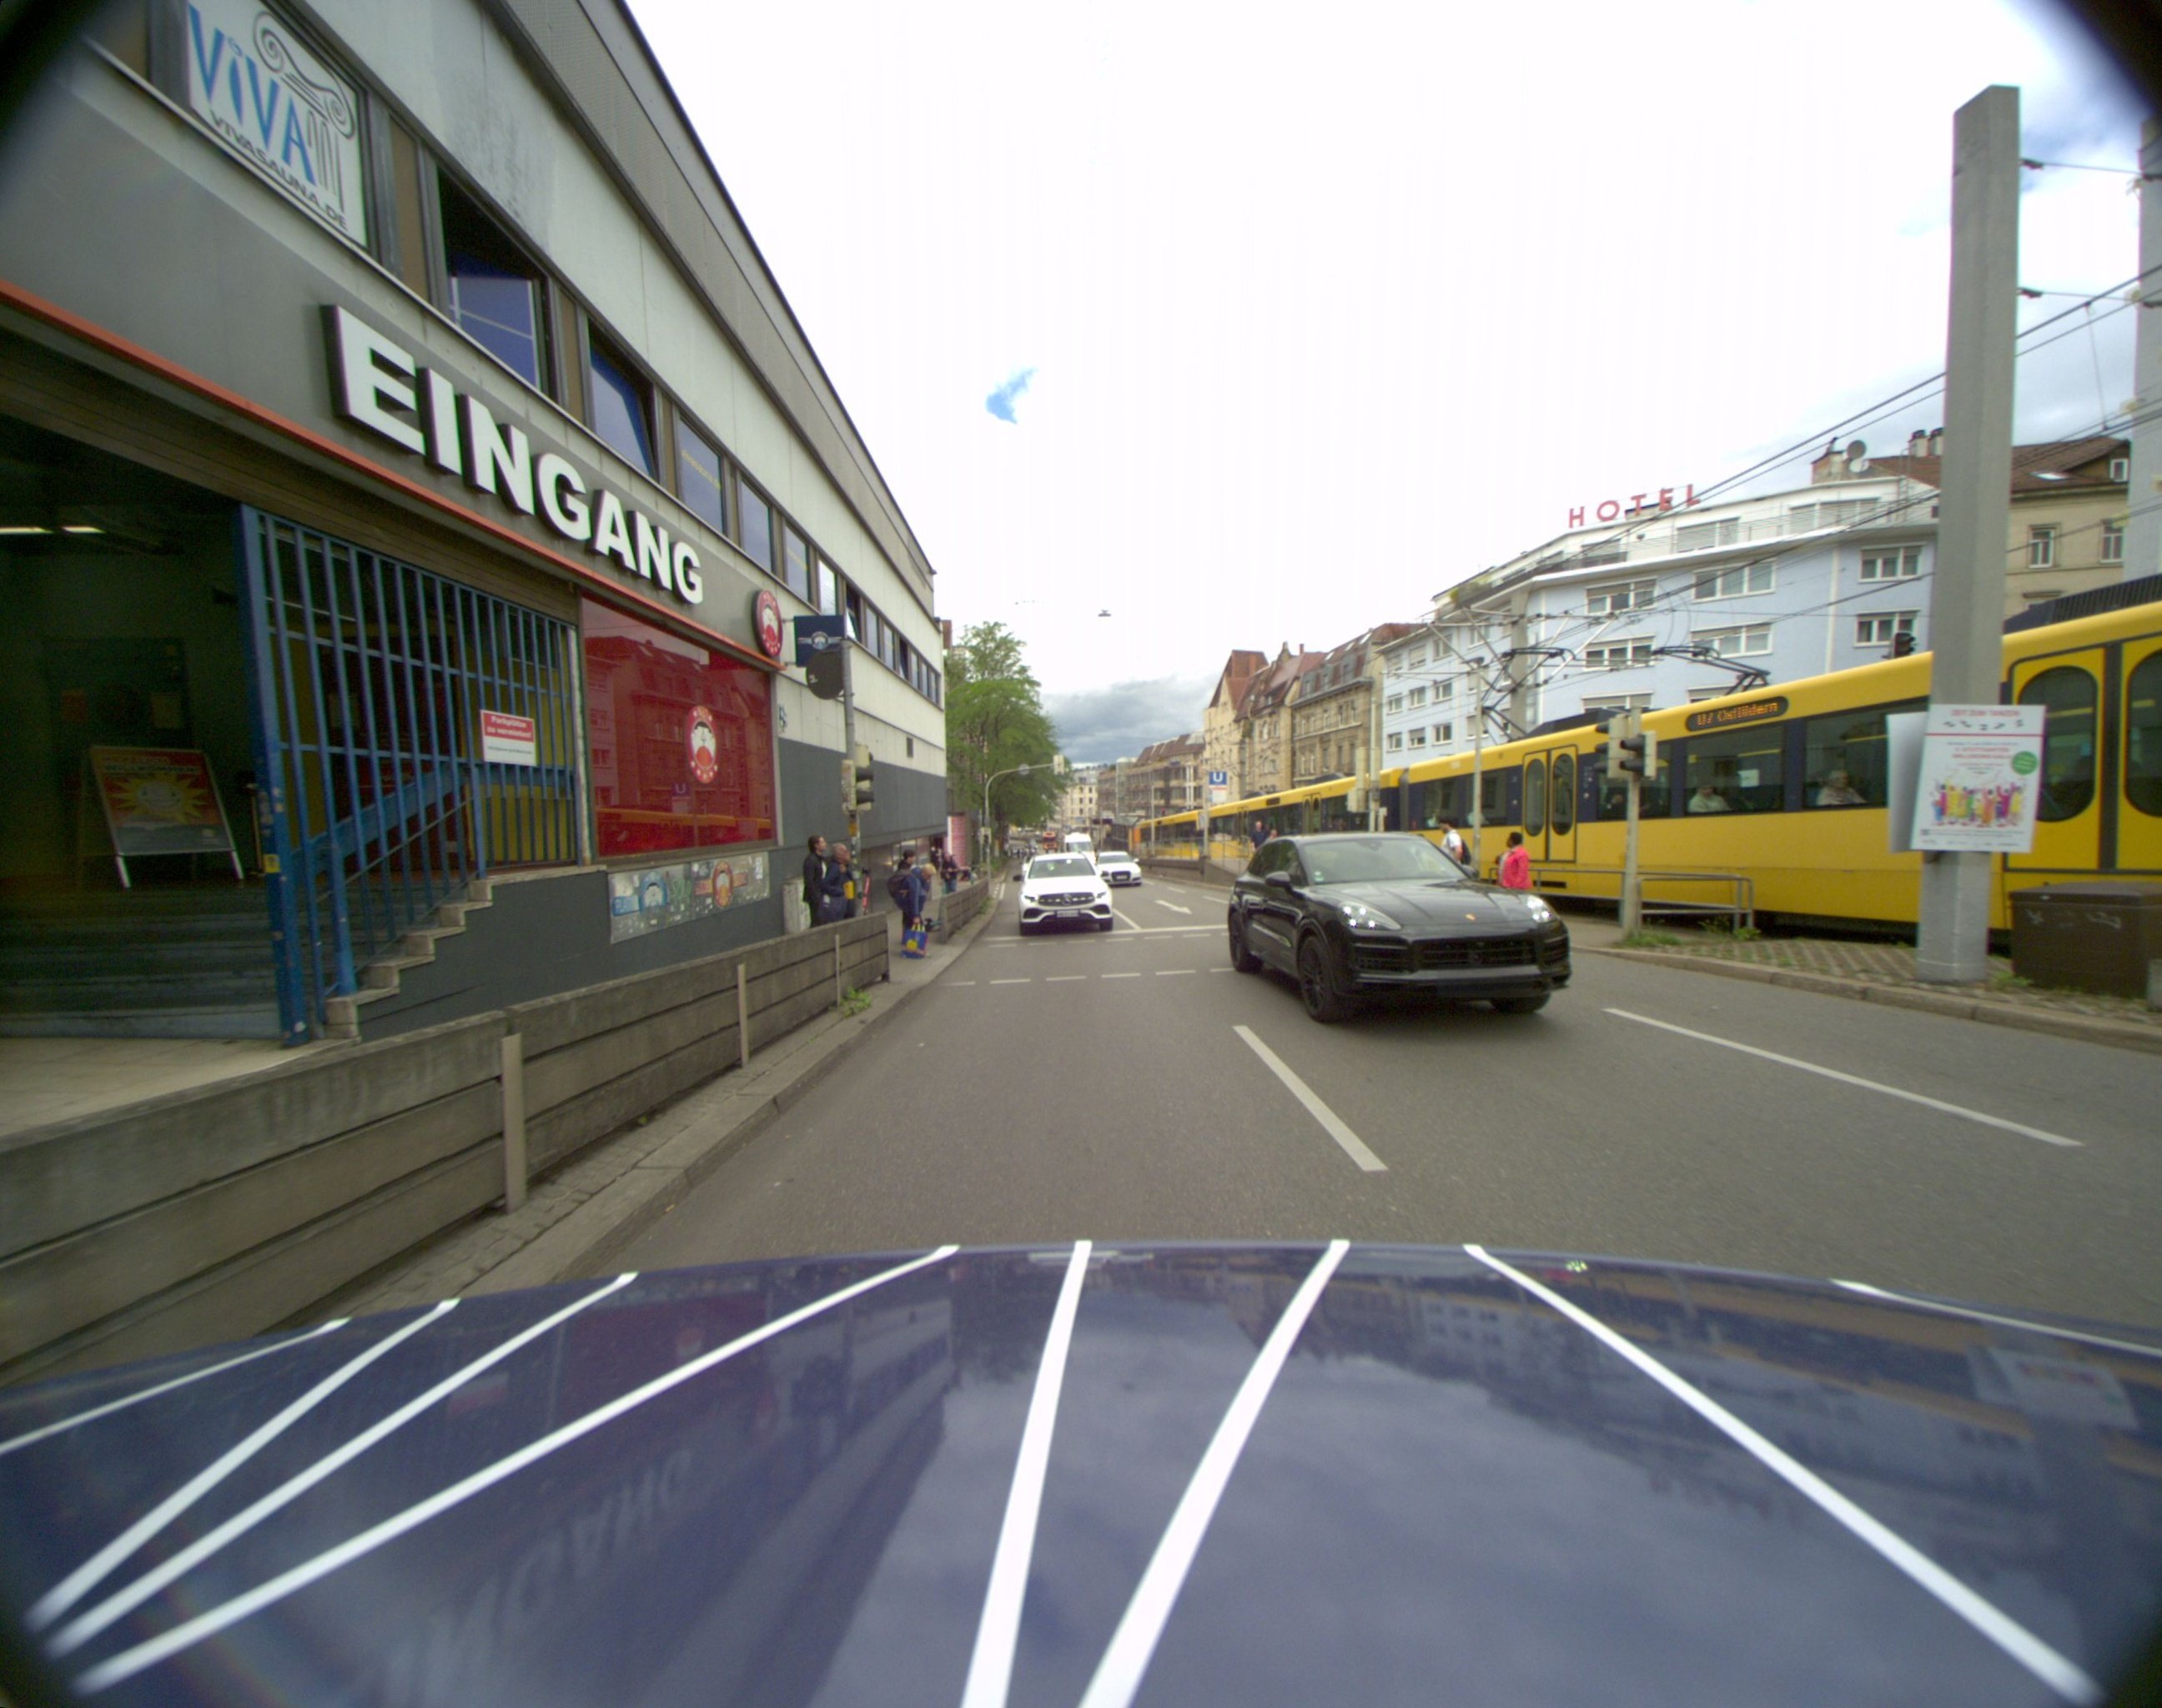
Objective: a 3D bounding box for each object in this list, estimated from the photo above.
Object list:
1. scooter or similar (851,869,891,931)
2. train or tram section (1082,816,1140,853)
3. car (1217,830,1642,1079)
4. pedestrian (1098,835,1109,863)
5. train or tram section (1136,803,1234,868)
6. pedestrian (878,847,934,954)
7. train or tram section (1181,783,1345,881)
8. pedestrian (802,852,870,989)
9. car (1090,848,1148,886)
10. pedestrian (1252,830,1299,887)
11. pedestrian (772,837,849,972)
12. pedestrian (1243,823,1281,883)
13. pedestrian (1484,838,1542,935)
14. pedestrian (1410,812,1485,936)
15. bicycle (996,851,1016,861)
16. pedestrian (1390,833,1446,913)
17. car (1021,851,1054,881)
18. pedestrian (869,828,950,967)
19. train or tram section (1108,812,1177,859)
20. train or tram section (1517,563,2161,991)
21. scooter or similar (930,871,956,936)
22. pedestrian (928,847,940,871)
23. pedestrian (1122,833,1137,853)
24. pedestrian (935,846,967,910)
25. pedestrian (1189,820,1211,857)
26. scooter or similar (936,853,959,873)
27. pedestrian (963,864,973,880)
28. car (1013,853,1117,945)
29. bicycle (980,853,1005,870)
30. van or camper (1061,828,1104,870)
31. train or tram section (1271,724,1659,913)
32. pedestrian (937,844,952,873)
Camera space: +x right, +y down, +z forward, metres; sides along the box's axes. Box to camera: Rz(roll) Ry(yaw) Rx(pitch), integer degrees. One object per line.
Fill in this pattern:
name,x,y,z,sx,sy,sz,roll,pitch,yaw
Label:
scooter or similar,-4.530,0.982,16.443,0.428,1.269,0.981,-1,1,9
train or tram section,2.845,-1.892,78.317,2.891,3.399,14.216,-4,1,-9
car,2.884,0.670,7.721,2.033,1.675,4.780,-2,1,-1
pedestrian,1.855,-0.418,63.001,0.838,2.272,0.772,-1,1,-5
train or tram section,6.428,-1.255,50.157,2.931,3.539,14.218,-3,2,-6
pedestrian,-3.037,0.784,13.237,0.739,1.783,0.655,3,1,-1
train or tram section,7.912,-0.948,36.084,2.890,3.643,14.219,-2,1,-6
pedestrian,-3.076,0.815,9.578,0.563,1.642,0.591,4,1,-1
car,1.568,0.502,33.042,1.898,1.467,4.528,-2,1,-4
pedestrian,6.133,0.124,24.007,1.120,1.672,1.040,-1,6,-5
pedestrian,-3.824,0.694,10.769,0.728,1.798,0.654,5,1,-1
pedestrian,6.130,-0.057,25.816,0.932,1.959,1.232,-1,4,-5
pedestrian,6.805,0.492,11.999,0.577,1.456,0.676,1,5,15
pedestrian,6.407,0.316,13.341,0.967,2.056,1.032,0,5,15
bicycle,-8.473,0.238,85.963,2.094,1.079,0.712,-4,1,-12
pedestrian,7.101,0.383,16.048,0.677,1.616,1.000,-1,1,-6
car,-2.366,0.629,42.009,1.670,1.521,3.999,-1,1,-2
pedestrian,-2.681,0.663,11.963,0.949,2.051,0.778,5,1,-1
train or tram section,4.885,-1.467,64.158,2.890,3.422,14.219,-4,1,-7
train or tram section,10.556,-0.700,7.727,2.890,3.643,14.466,-1,1,-5
scooter or similar,-2.848,1.007,15.749,0.355,1.268,0.813,4,1,-3
pedestrian,-9.849,0.323,50.855,0.625,1.514,0.664,-3,1,1
pedestrian,3.146,-0.719,49.463,0.852,1.298,0.778,0,1,-4
pedestrian,-3.728,0.683,21.900,0.722,1.775,0.883,-3,2,-3
pedestrian,5.197,-0.690,33.267,0.780,1.575,0.665,-1,1,-5
scooter or similar,-8.589,0.555,48.934,1.387,1.247,0.632,1,3,31
pedestrian,-6.434,1.035,43.316,0.485,0.905,0.583,-1,0,-2
car,-0.482,0.852,16.927,1.935,1.622,4.770,-2,1,-4
bicycle,-6.250,0.520,53.667,1.746,1.215,0.541,-1,1,-9
van or camper,0.008,-0.345,51.296,2.209,2.544,6.369,-3,1,-5
train or tram section,9.336,-0.809,21.959,2.890,3.643,14.220,-1,1,-5
pedestrian,-9.123,0.295,50.896,0.706,1.879,0.880,-3,1,1
